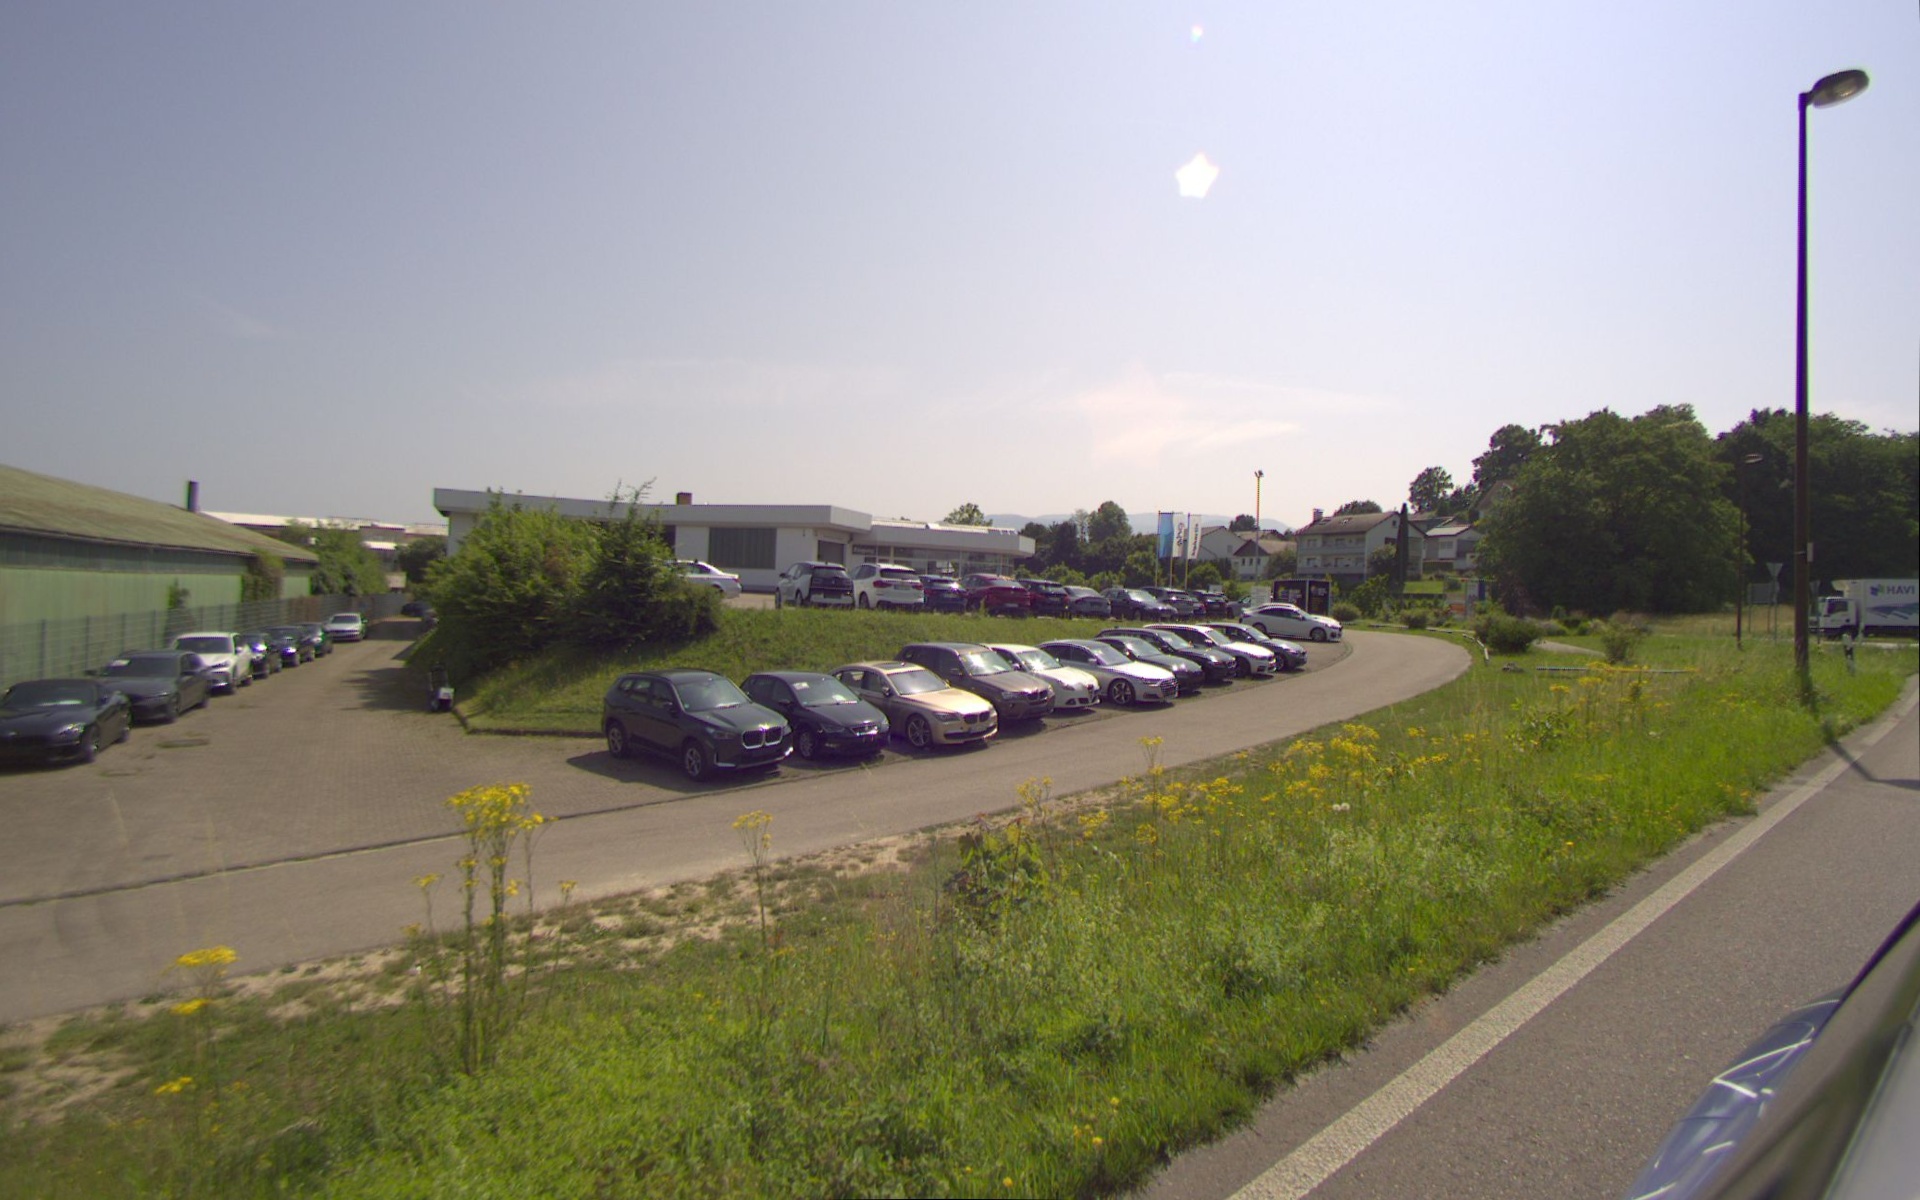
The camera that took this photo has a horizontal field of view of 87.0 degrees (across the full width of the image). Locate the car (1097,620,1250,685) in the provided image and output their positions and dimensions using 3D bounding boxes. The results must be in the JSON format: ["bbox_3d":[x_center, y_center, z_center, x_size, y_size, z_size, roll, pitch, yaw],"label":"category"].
[{"bbox_3d":[6.599,1.563,31.470,4.236,1.500,1.899,3,4,36],"label":"car"}]

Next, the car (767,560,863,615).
[{"bbox_3d":[-4.506,-0.409,30.957,1.732,1.552,3.894,1,1,-27],"label":"car"}]

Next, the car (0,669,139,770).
[{"bbox_3d":[-16.538,2.105,18.465,1.684,1.393,3.956,0,0,-28],"label":"car"}]

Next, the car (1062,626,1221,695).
[{"bbox_3d":[5.233,1.693,29.557,4.250,1.429,1.893,4,5,44],"label":"car"}]

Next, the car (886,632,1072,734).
[{"bbox_3d":[0.382,1.863,24.029,4.250,1.769,1.969,4,5,44],"label":"car"}]

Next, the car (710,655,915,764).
[{"bbox_3d":[-3.022,2.095,20.364,3.982,1.571,1.972,2,3,40],"label":"car"}]

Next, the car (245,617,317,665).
[{"bbox_3d":[-25.643,1.500,38.339,1.702,1.661,4.185,0,0,-26],"label":"car"}]

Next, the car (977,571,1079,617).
[{"bbox_3d":[2.552,-0.277,39.110,1.909,1.655,4.475,1,1,-27],"label":"car"}]

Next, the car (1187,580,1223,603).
[{"bbox_3d":[17.798,-0.620,73.659,1.876,1.531,4.370,2,1,5],"label":"car"}]

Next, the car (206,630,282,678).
[{"bbox_3d":[-23.813,1.756,33.766,1.558,1.370,3.704,0,0,-27],"label":"car"}]

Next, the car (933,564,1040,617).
[{"bbox_3d":[0.873,-0.369,36.366,1.909,1.769,4.475,1,1,-27],"label":"car"}]

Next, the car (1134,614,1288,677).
[{"bbox_3d":[8.218,1.440,33.325,4.545,1.584,1.899,3,4,36],"label":"car"}]

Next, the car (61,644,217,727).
[{"bbox_3d":[-18.604,1.854,23.172,1.943,1.490,4.464,0,0,-28],"label":"car"}]

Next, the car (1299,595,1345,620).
[{"bbox_3d":[24.823,0.488,69.577,1.876,1.531,4.370,2,1,5],"label":"car"}]

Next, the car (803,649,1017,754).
[{"bbox_3d":[-1.198,2.093,22.114,4.769,1.526,1.969,4,5,44],"label":"car"}]

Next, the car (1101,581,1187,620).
[{"bbox_3d":[8.072,-0.003,44.789,1.908,1.545,4.017,2,1,-21],"label":"car"}]

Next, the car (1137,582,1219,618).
[{"bbox_3d":[10.942,-0.032,51.045,1.909,1.518,4.016,3,2,-27],"label":"car"}]

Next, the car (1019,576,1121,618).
[{"bbox_3d":[4.345,-0.150,40.728,1.909,1.518,4.475,2,1,-27],"label":"car"}]

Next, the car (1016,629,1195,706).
[{"bbox_3d":[3.853,1.747,27.225,4.410,1.483,1.899,4,5,36],"label":"car"}]

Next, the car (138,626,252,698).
[{"bbox_3d":[-21.477,1.669,28.590,1.883,1.752,4.322,0,0,-28],"label":"car"}]

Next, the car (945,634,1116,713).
[{"bbox_3d":[1.738,1.805,26.104,4.250,1.483,1.844,3,4,44],"label":"car"}]

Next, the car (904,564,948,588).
[{"bbox_3d":[-2.470,-1.712,73.218,1.869,1.606,4.050,2,1,-22],"label":"car"}]

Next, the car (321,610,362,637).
[{"bbox_3d":[-33.007,1.232,54.080,1.558,1.370,3.704,0,0,-27],"label":"car"}]

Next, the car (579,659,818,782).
[{"bbox_3d":[-4.935,2.098,18.786,4.474,1.660,2.117,0,2,40],"label":"car"}]

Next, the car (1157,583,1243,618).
[{"bbox_3d":[12.495,0.009,53.020,1.910,1.518,4.436,0,4,-27],"label":"car"}]

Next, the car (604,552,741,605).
[{"bbox_3d":[-9.785,-0.716,34.460,4.215,1.616,1.926,1,1,-25],"label":"car"}]

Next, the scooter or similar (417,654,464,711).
[{"bbox_3d":[-13.424,2.104,26.116,0.612,1.330,1.977,0,-1,-42],"label":"scooter or similar"}]

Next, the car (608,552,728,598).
[{"bbox_3d":[-11.326,-0.960,39.274,4.215,1.616,1.926,1,1,-25],"label":"car"}]

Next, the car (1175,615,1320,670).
[{"bbox_3d":[9.933,1.415,35.058,4.536,1.438,1.765,3,4,31],"label":"car"}]

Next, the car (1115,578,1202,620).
[{"bbox_3d":[9.326,-0.063,47.815,1.909,1.772,4.016,2,2,-27],"label":"car"}]

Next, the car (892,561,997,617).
[{"bbox_3d":[-0.611,-0.411,34.598,1.801,1.769,4.475,1,1,-27],"label":"car"}]

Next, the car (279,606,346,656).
[{"bbox_3d":[-27.806,1.269,43.600,1.959,2.039,4.006,0,0,-26],"label":"car"}]

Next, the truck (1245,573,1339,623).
[{"bbox_3d":[19.125,-0.150,58.615,1.908,2.698,5.639,2,1,-21],"label":"truck"}]

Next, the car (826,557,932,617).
[{"bbox_3d":[-2.691,-0.437,32.621,1.801,1.769,4.475,1,1,-27],"label":"car"}]

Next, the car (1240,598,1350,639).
[{"bbox_3d":[15.299,0.789,46.259,4.539,1.590,1.750,3,2,30],"label":"car"}]

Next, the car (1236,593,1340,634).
[{"bbox_3d":[15.909,0.624,49.128,4.616,1.590,1.754,4,2,24],"label":"car"}]

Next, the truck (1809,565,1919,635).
[{"bbox_3d":[53.936,0.003,56.933,8.923,3.878,2.877,0,0,24],"label":"truck"}]
